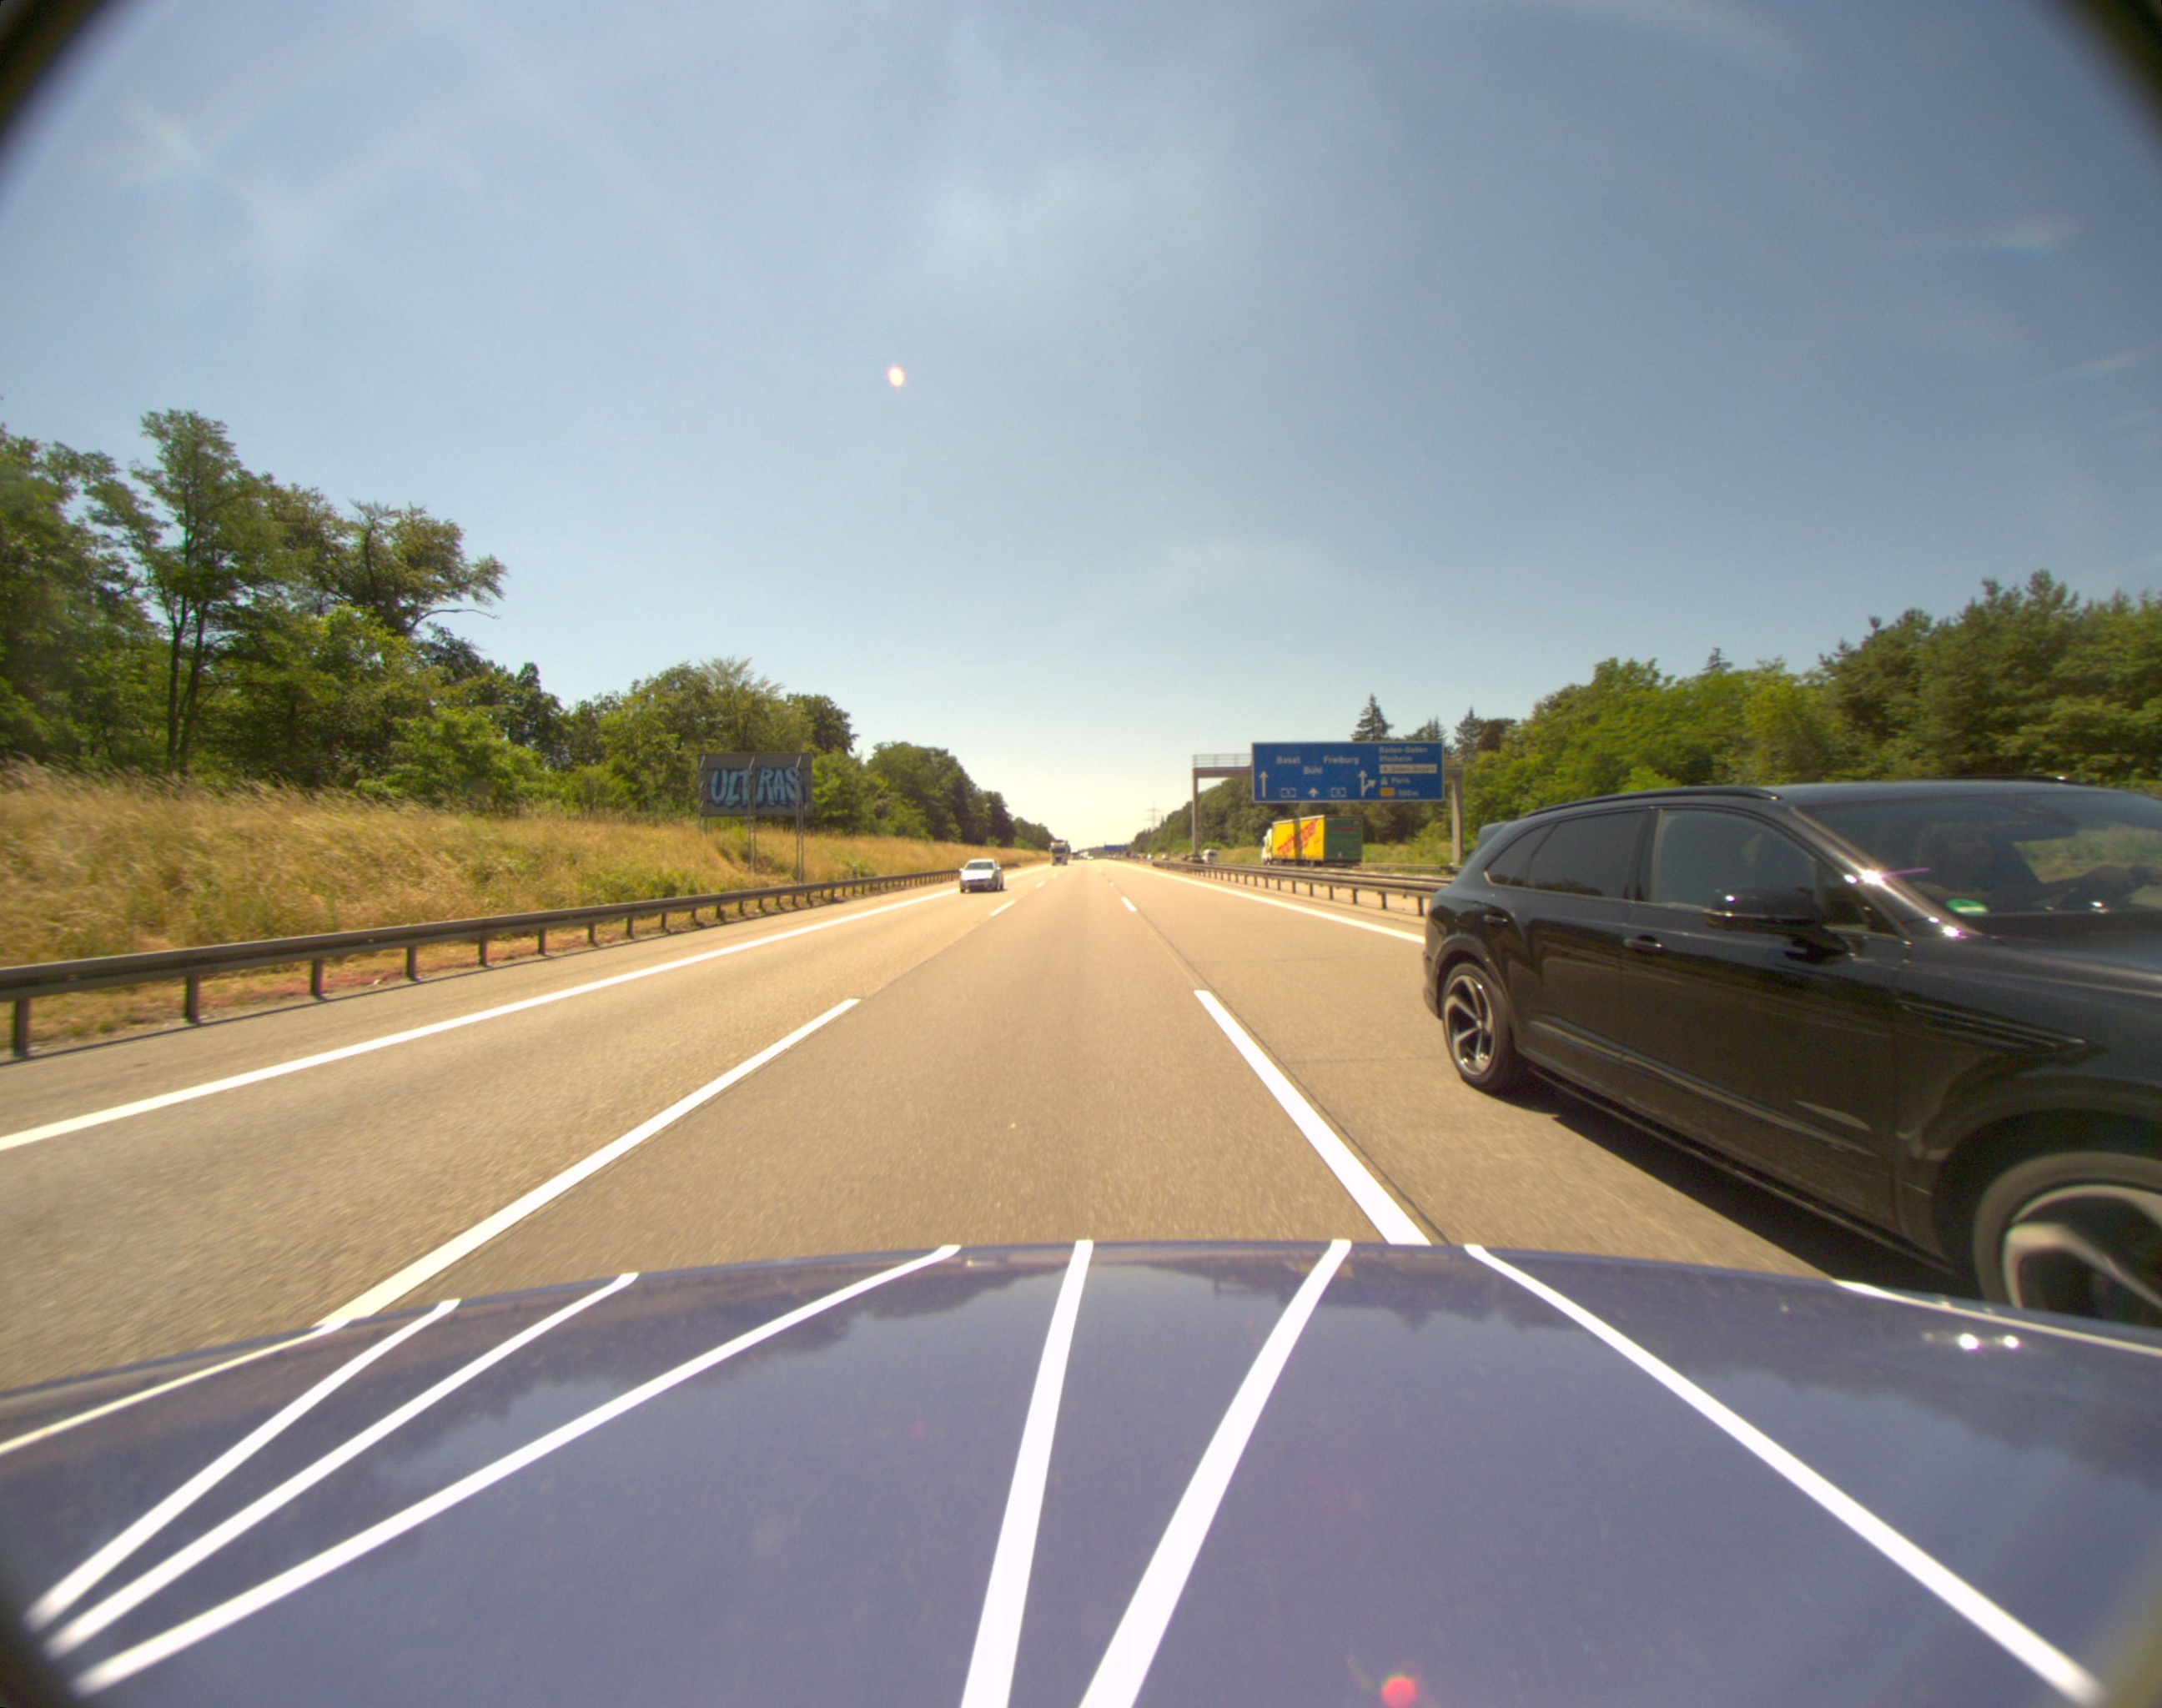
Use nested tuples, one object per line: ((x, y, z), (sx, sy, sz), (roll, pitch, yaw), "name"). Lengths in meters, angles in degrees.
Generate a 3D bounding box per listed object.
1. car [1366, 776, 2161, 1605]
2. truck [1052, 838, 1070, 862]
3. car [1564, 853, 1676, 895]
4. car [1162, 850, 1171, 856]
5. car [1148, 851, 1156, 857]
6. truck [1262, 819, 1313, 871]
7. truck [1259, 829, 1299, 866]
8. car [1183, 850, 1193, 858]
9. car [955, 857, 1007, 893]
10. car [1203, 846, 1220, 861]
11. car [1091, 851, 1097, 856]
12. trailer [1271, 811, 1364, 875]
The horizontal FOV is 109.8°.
((3.215, 0.681, 2.995), (1.945, 1.742, 5.813), (-2, 0, 0), "car")
((-3.384, -0.698, 127.267), (2.605, 3.811, 5.969), (-2, 0, 1), "truck")
((21.358, 0.743, 30.332), (1.527, 1.531, 4.110), (2, 0, 0), "car")
((22.927, -0.171, 204.129), (1.799, 1.508, 4.903), (2, 0, 0), "car")
((18.867, -0.081, 202.368), (1.651, 1.490, 4.560), (2, 0, 0), "car")
((17.091, -0.738, 63.316), (2.470, 4.049, 6.287), (2, 0, 0), "truck")
((21.812, -0.694, 84.065), (2.632, 3.925, 6.482), (2, 0, 0), "truck")
((23.332, 0.031, 165.476), (1.650, 1.581, 4.611), (1, 0, 0), "car")
((-4.541, 0.934, 35.149), (1.749, 1.457, 3.980), (-2, 0, 1), "car")
((22.354, -0.084, 130.349), (1.992, 2.327, 5.809), (2, 0, 0), "car")
((4.144, -0.136, 249.864), (1.796, 1.412, 3.999), (-2, 0, 0), "car")
((17.026, -0.722, 56.178), (2.470, 4.049, 14.278), (2, 0, 0), "trailer")
